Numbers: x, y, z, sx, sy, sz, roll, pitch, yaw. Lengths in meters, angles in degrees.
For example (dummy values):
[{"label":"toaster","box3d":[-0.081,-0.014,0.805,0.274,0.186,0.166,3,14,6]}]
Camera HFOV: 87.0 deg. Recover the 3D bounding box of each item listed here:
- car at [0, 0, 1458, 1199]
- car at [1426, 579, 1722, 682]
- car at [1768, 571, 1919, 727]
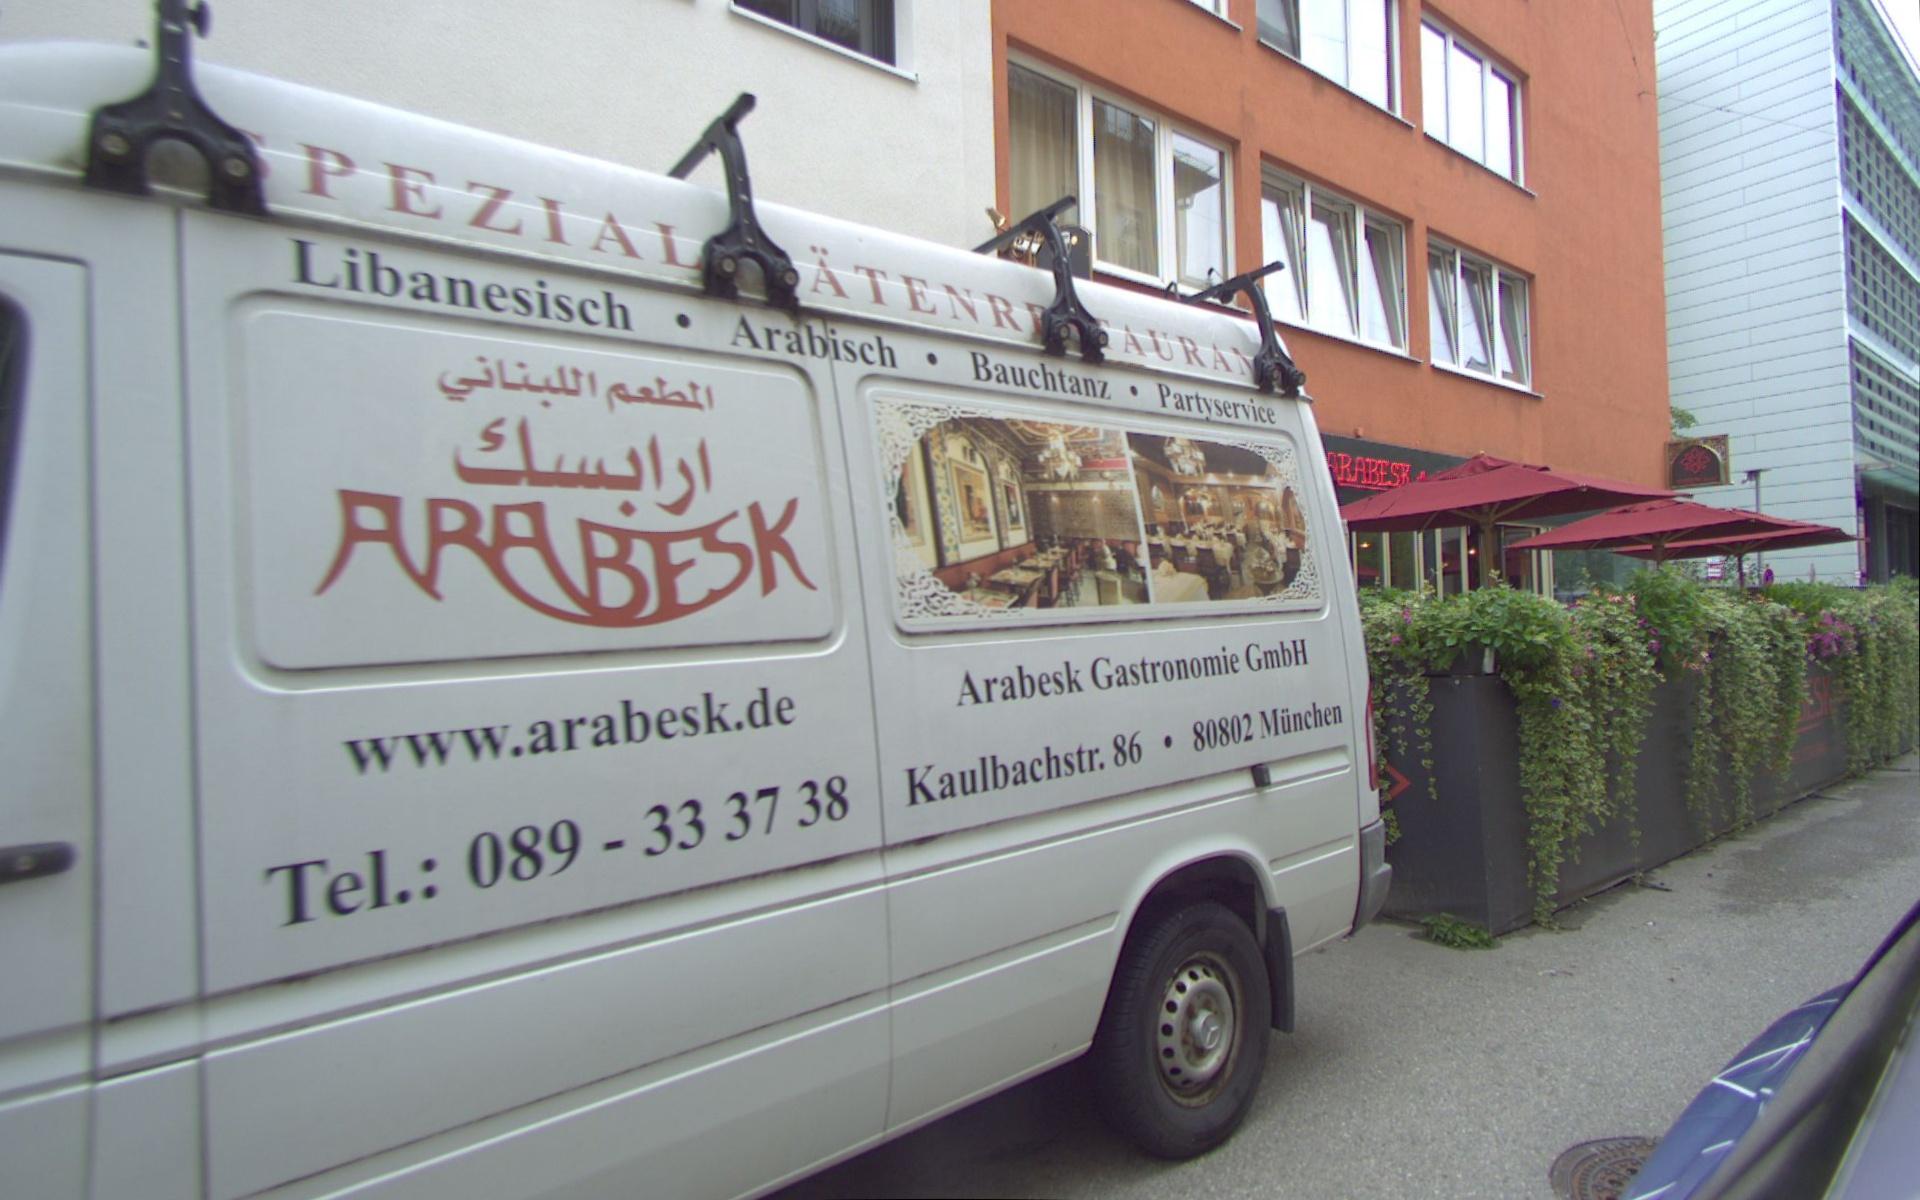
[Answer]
[{"label":"car","box3d":[-1.233,0.232,2.444,5.888,2.539,1.924,0,-4,-39]},{"label":"car","box3d":[11.599,0.566,19.411,1.807,1.742,4.472,0,-2,-37]},{"label":"car","box3d":[12.127,0.552,12.817,4.307,1.732,1.828,0,-3,-36]}]
